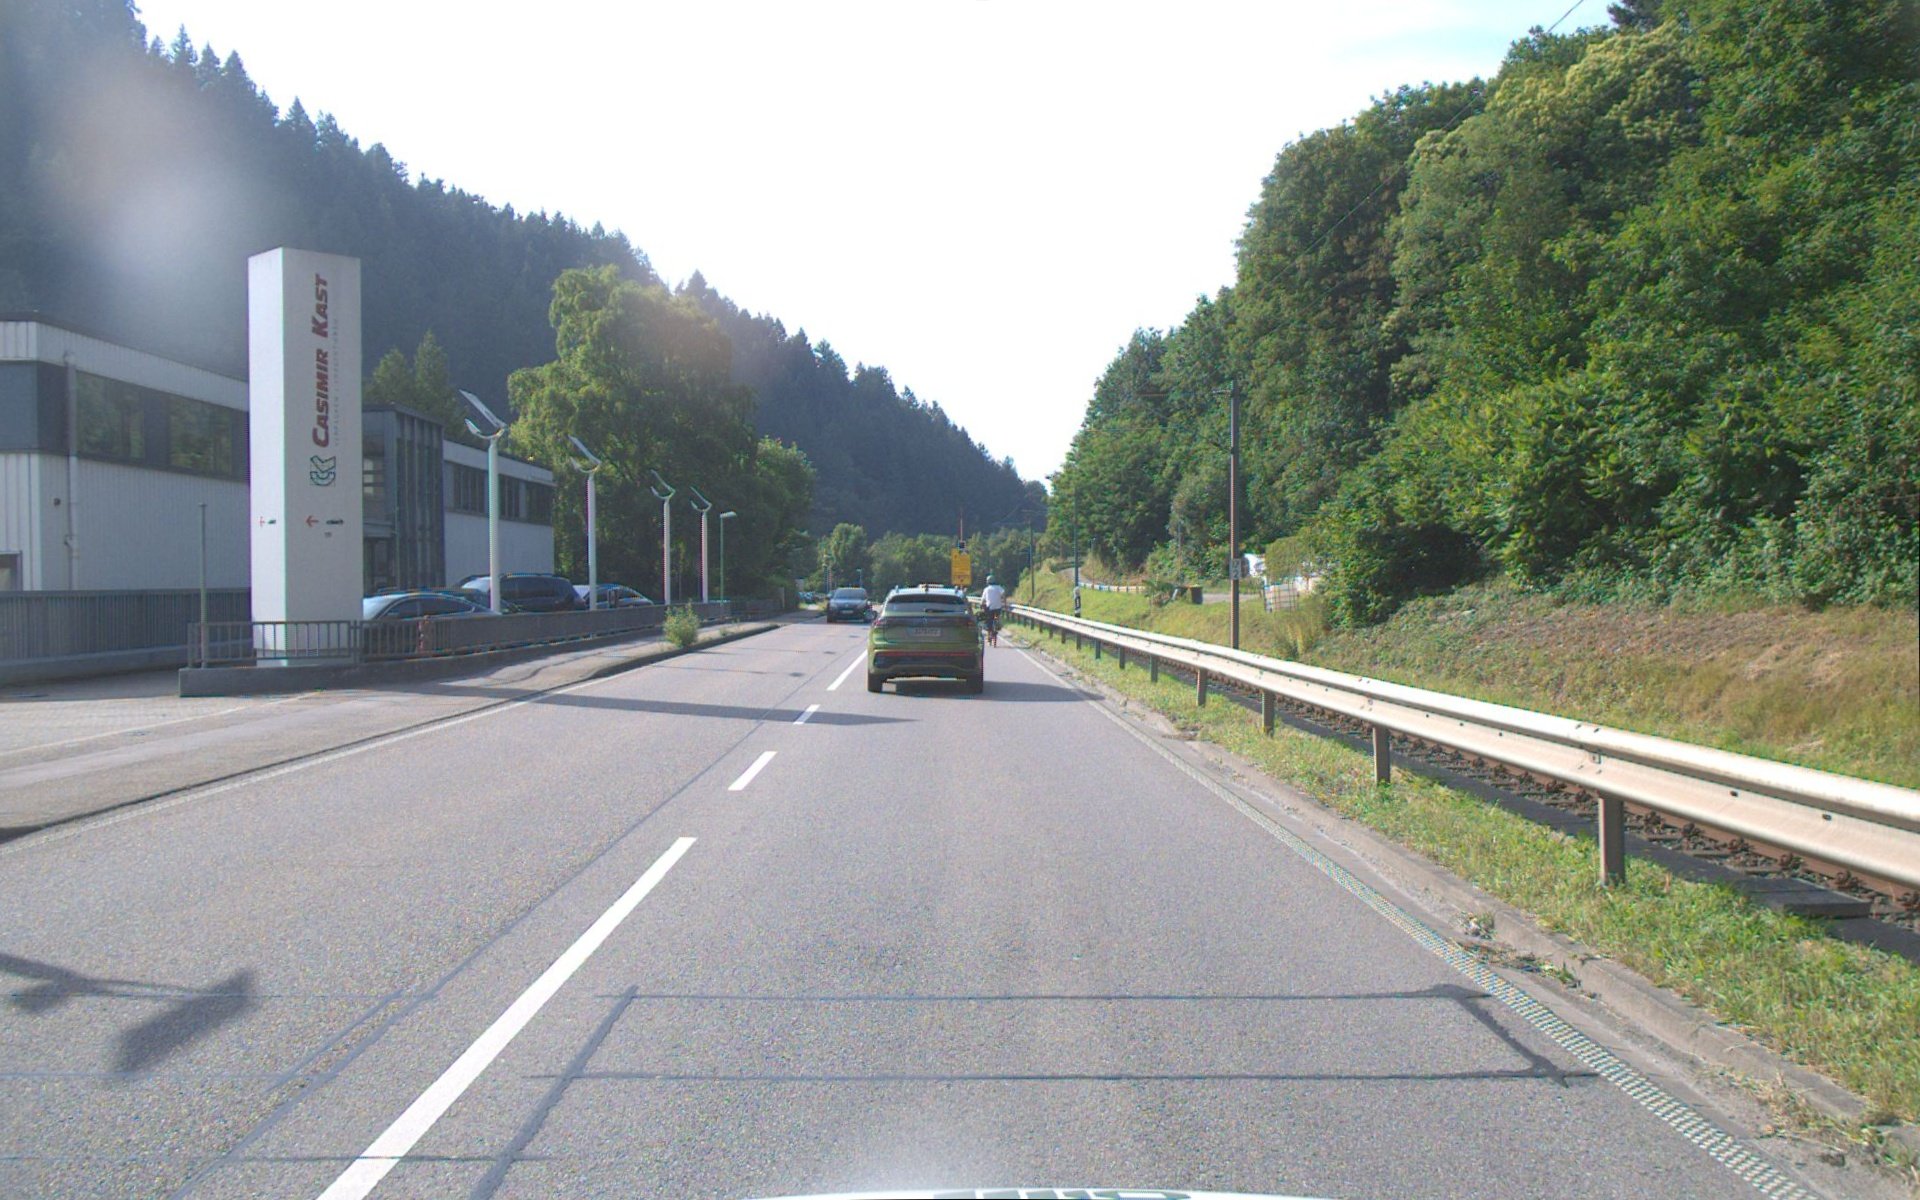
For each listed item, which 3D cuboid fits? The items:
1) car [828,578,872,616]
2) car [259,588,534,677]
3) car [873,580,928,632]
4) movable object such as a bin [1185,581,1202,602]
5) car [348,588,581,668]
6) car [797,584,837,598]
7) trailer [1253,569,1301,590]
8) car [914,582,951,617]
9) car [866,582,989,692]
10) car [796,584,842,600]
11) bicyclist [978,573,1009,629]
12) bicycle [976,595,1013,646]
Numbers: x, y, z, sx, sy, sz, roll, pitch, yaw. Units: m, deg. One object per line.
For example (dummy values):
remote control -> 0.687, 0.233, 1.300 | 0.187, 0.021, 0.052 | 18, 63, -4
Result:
car -> -4.604, -0.135, 69.672 | 1.643, 1.511, 4.245 | 2, 0, -1
car -> -9.845, 0.518, 29.303 | 1.674, 1.399, 4.727 | -1, 1, 29
car -> -1.949, 0.162, 54.248 | 1.704, 1.630, 3.999 | 0, 0, -2
movable object such as a bin -> 12.236, -0.440, 86.680 | 0.837, 1.126, 0.935 | 0, 0, 4
car -> -9.938, 0.523, 33.562 | 1.674, 1.464, 4.727 | -1, 1, 29
car -> -15.232, -0.934, 176.588 | 4.172, 1.458, 1.557 | 0, 0, -1
trailer -> 19.390, -1.252, 101.328 | 2.025, 1.213, 3.712 | 1, 0, -3
car -> -1.362, -0.046, 79.879 | 1.704, 1.630, 3.999 | -1, 1, -2
car -> -0.519, 0.498, 25.065 | 1.704, 1.534, 3.999 | 0, 0, -2
car -> -13.285, -0.724, 155.824 | 4.172, 1.458, 1.557 | 0, 0, -1
bicyclist -> 0.868, 0.019, 42.781 | 0.766, 1.436, 0.674 | 0, 0, -3
bicycle -> 0.875, 0.500, 42.699 | 0.795, 1.272, 2.121 | 0, 0, -3
